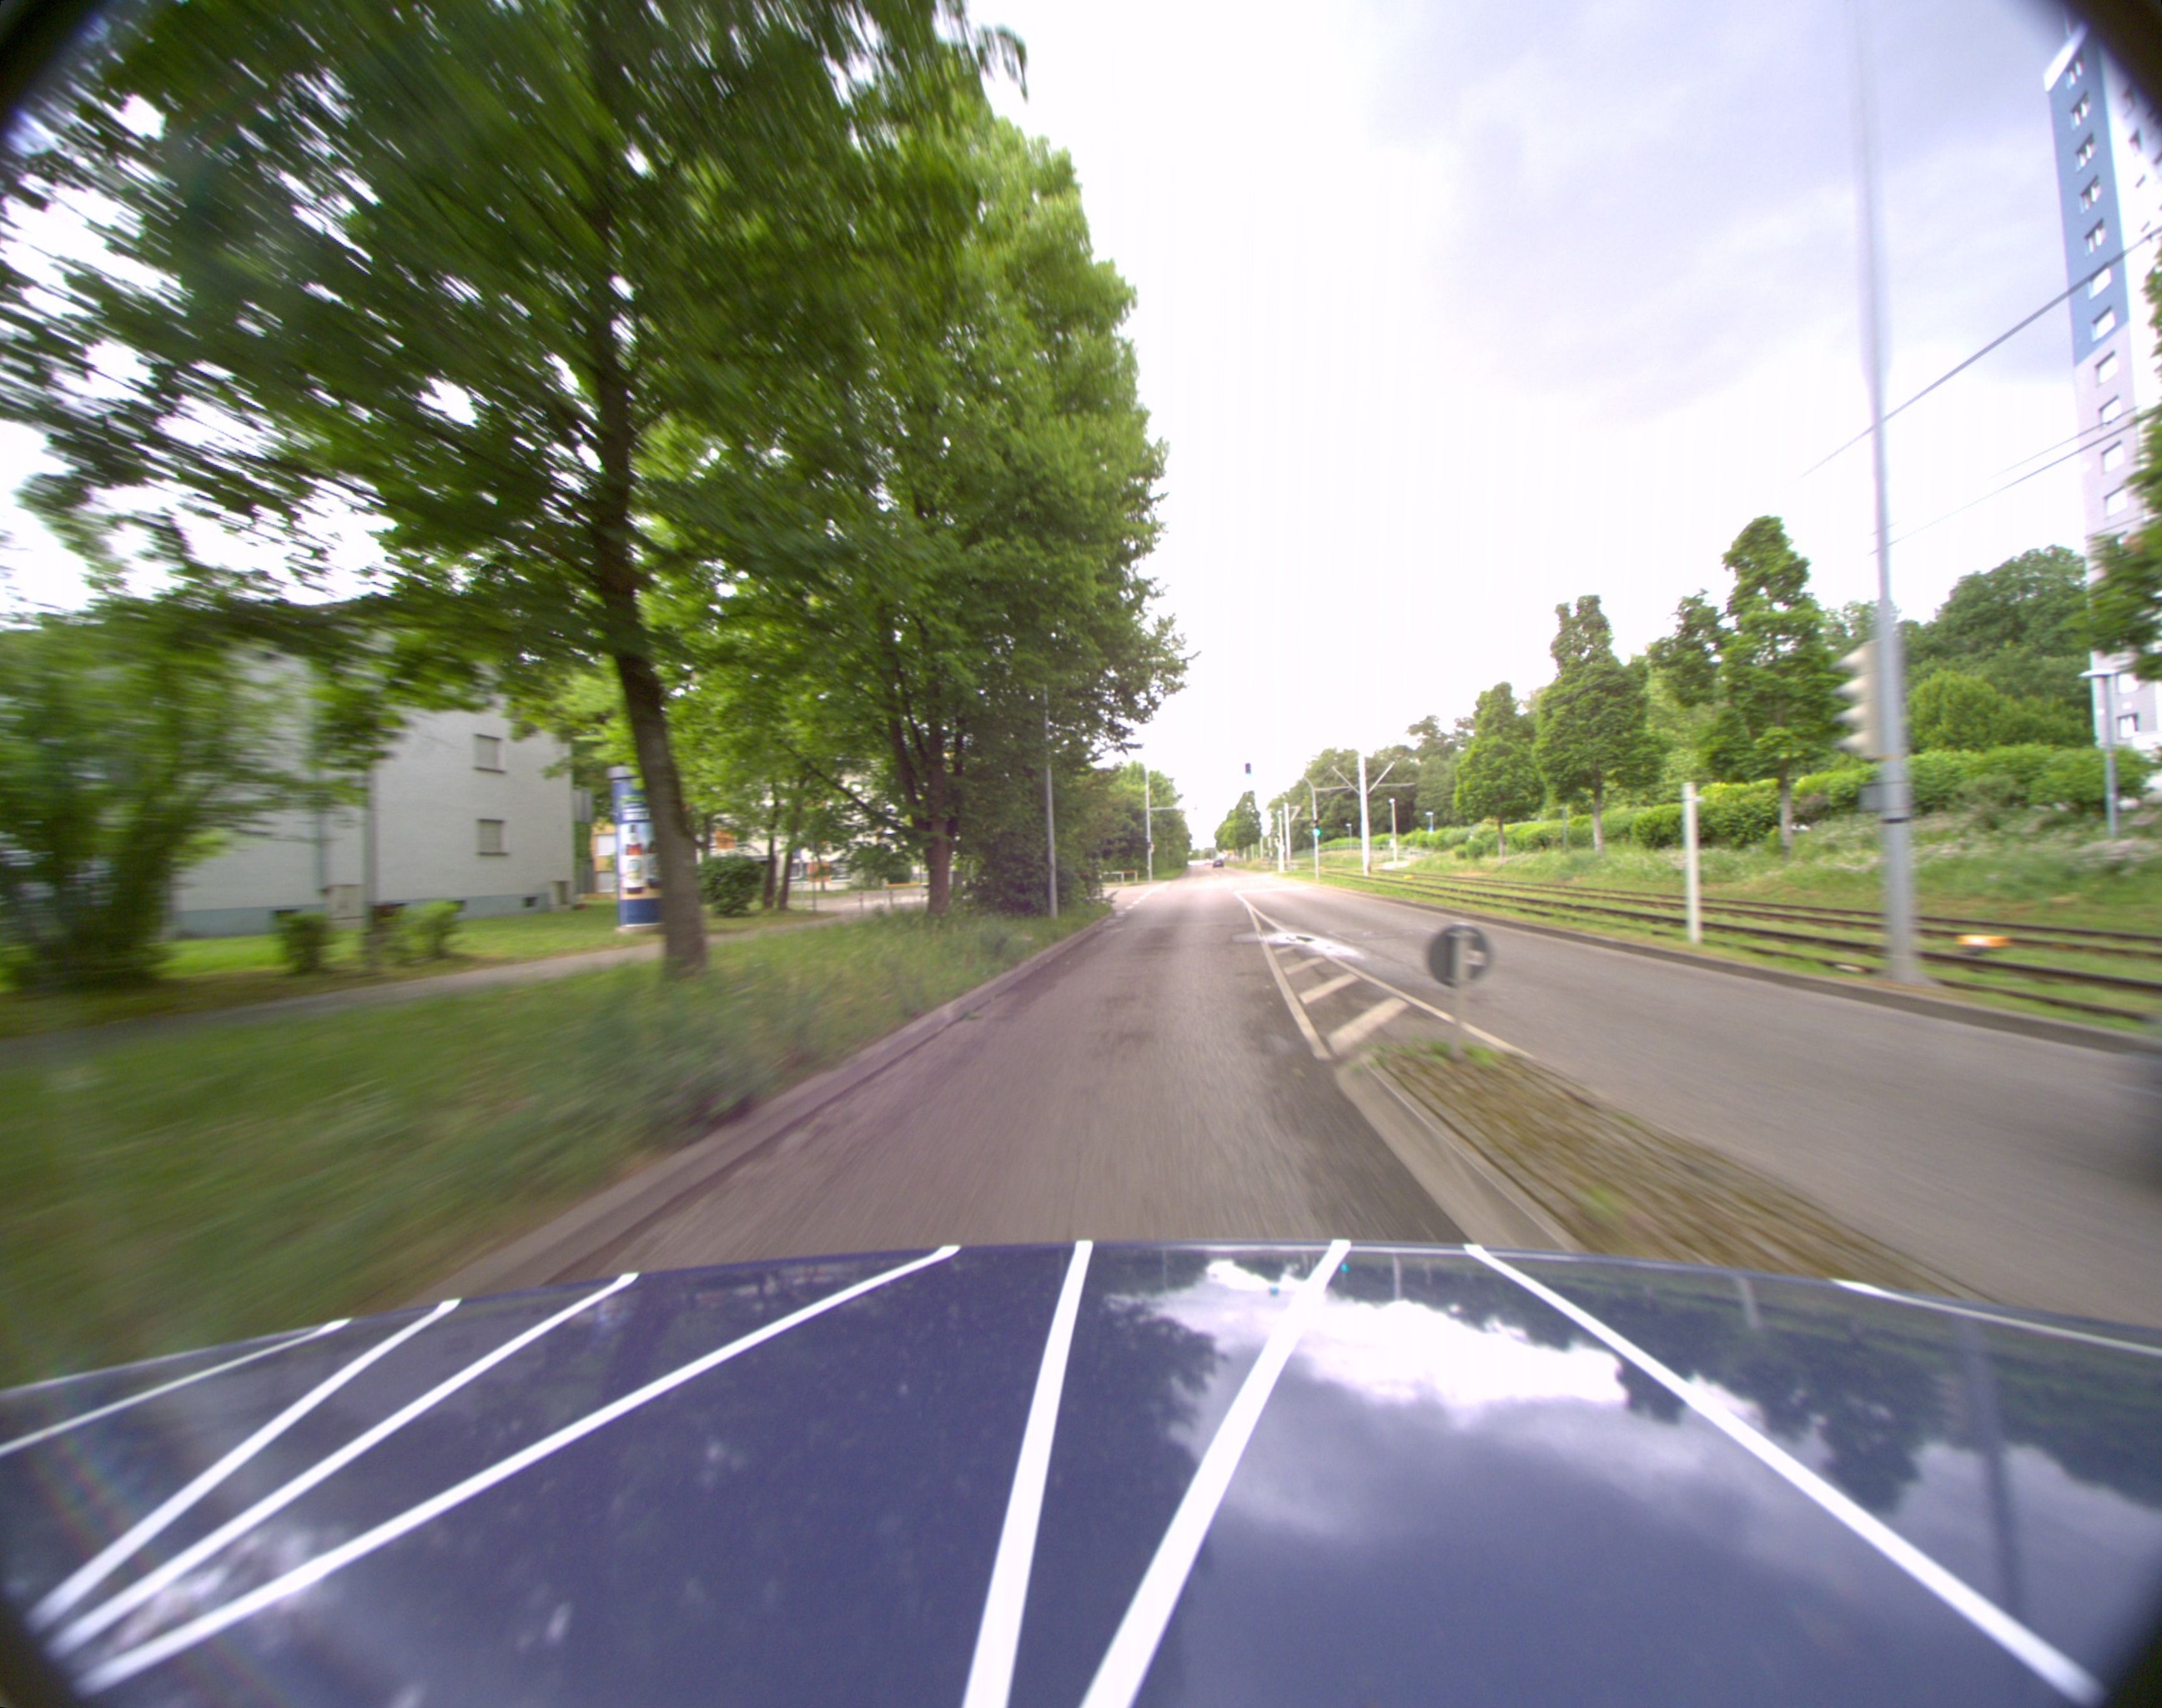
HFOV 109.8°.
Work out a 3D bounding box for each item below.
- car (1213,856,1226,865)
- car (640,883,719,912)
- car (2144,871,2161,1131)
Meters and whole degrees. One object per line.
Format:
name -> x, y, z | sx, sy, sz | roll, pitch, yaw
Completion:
car -> 23.066, 1.123, 126.780 | 1.854, 1.461, 4.259 | -3, -1, 9
car -> -23.888, 2.583, 45.317 | 3.774, 1.456, 1.636 | -3, 0, -10
car -> 5.230, 0.716, 0.876 | 1.873, 1.511, 4.237 | -3, -1, -6
